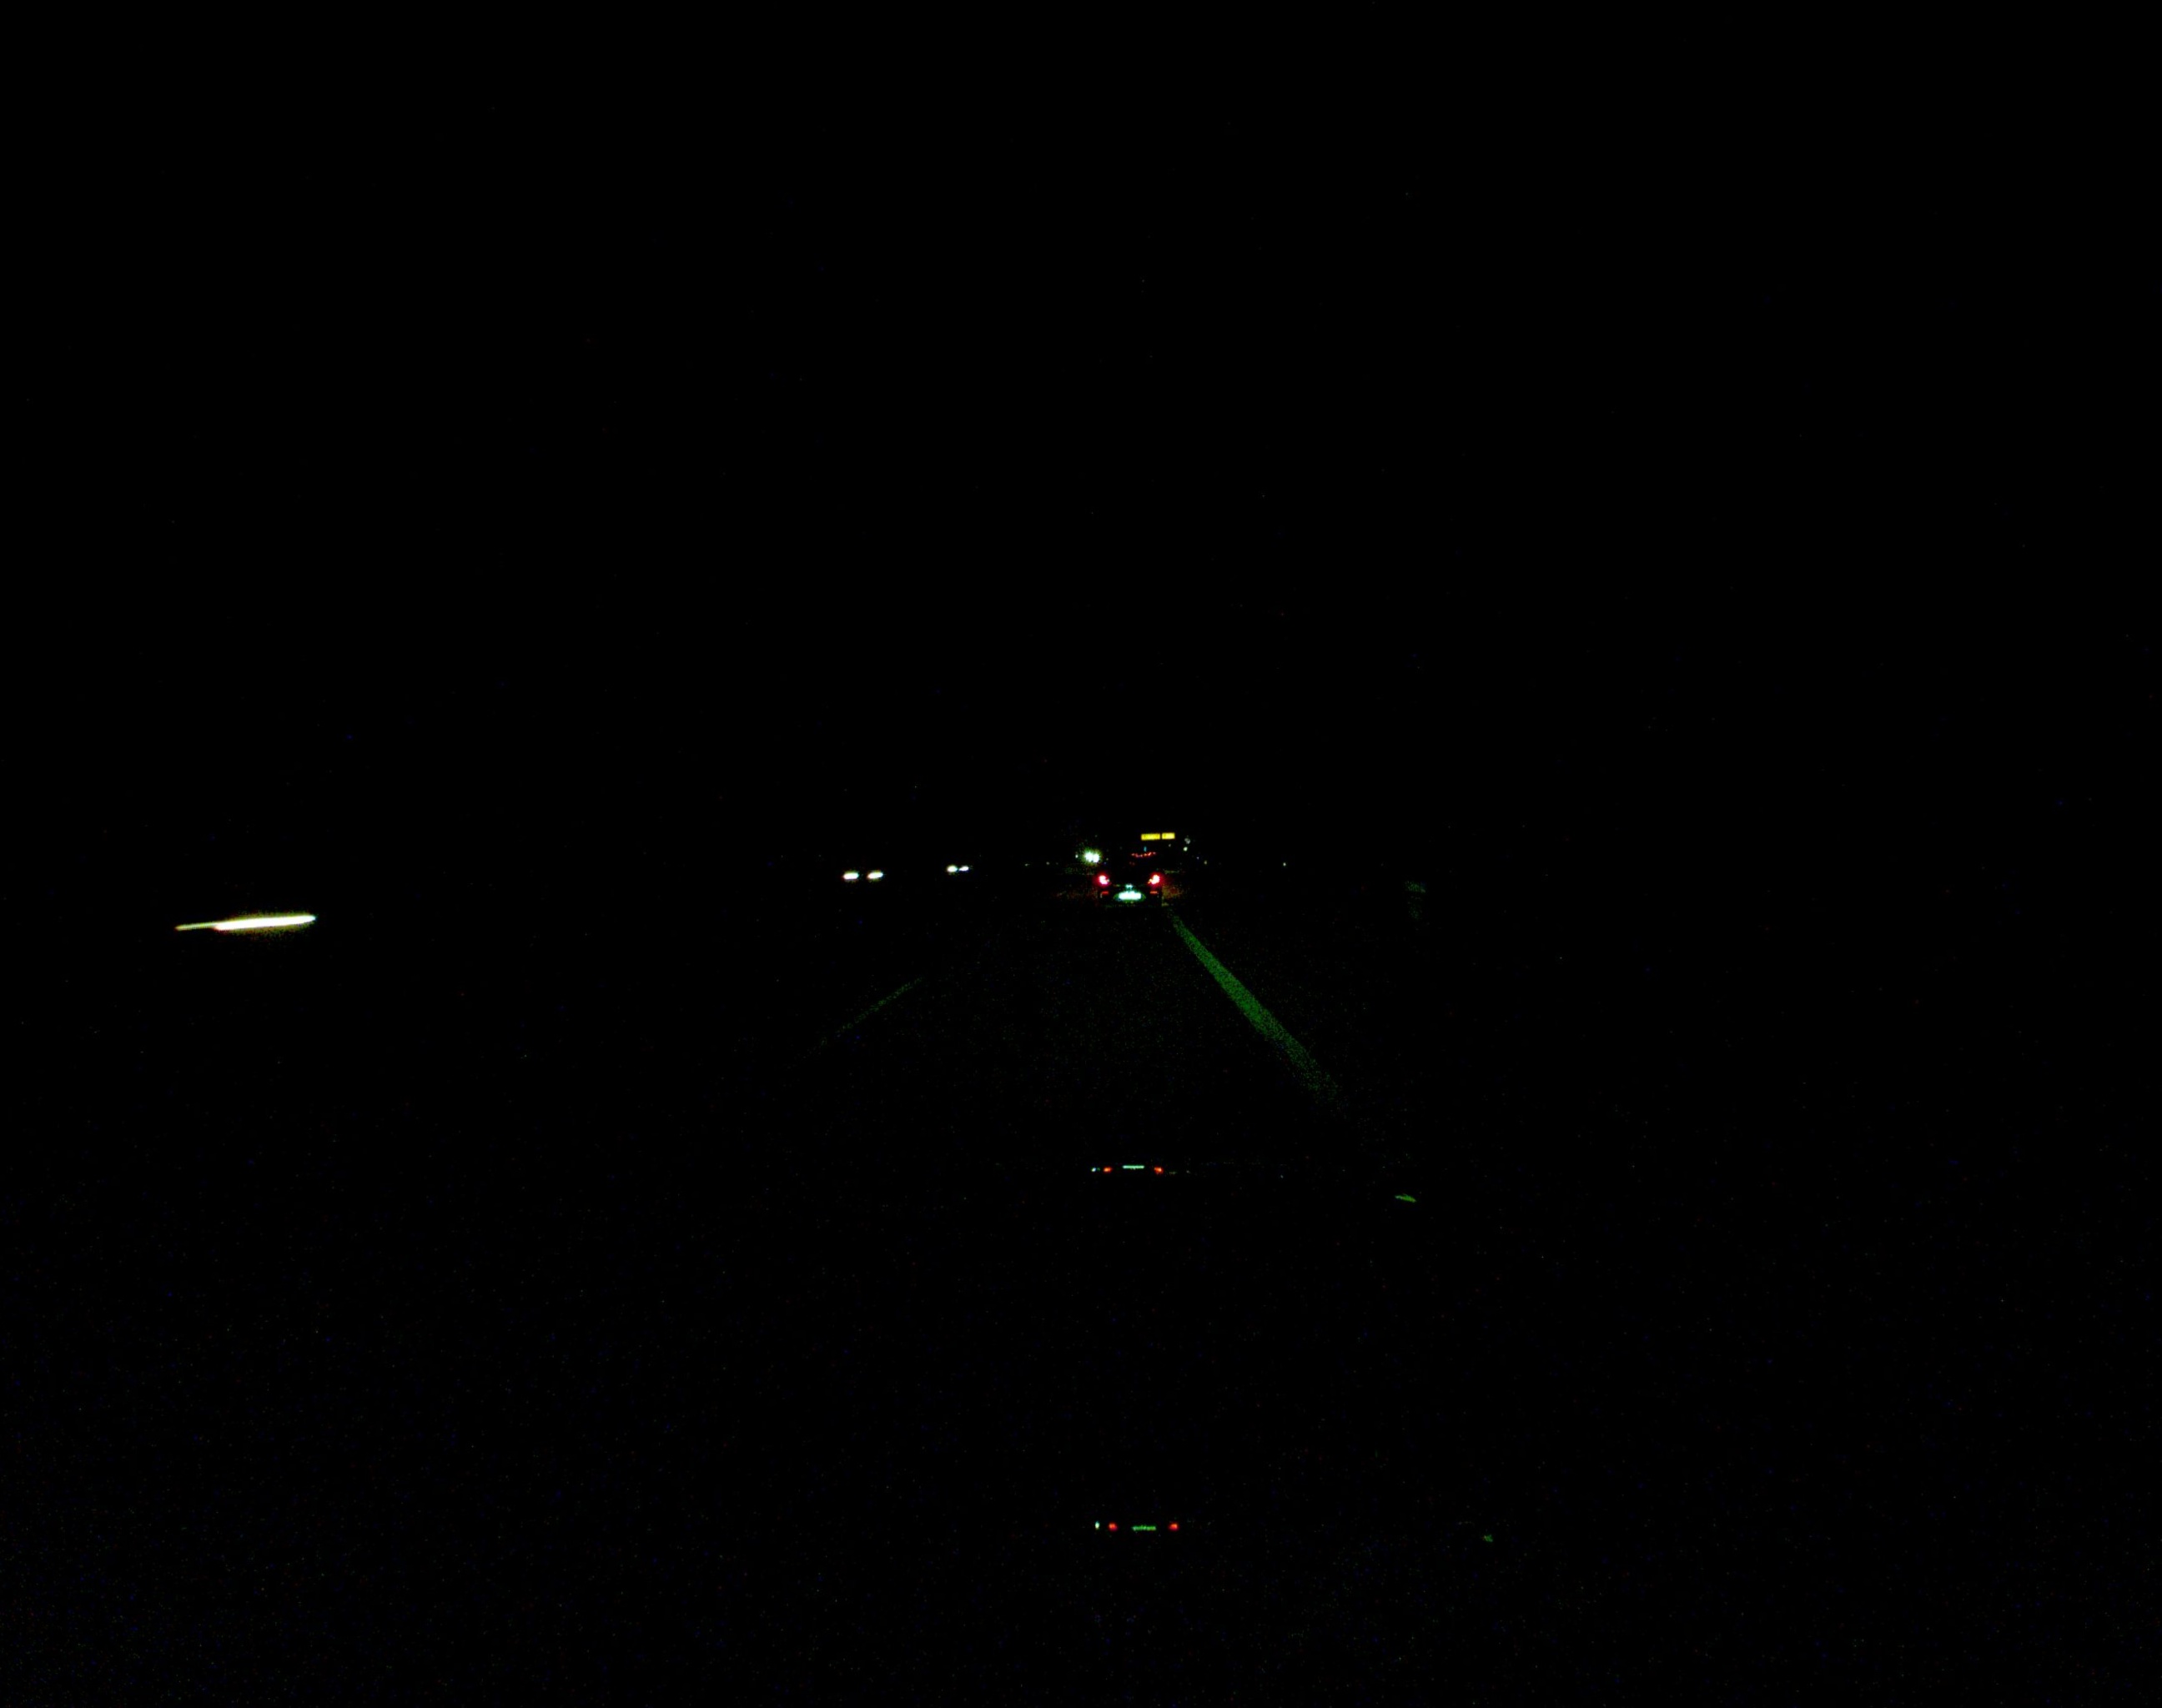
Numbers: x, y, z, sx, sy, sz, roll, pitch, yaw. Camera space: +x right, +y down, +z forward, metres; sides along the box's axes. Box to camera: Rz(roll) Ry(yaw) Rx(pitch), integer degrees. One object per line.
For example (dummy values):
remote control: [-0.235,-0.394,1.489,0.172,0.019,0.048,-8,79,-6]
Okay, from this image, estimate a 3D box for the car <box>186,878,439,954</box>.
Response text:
car: [-19.355,1.495,20.853,1.811,1.442,4.485,-3,0,8]

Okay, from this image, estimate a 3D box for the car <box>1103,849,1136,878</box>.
car: [2.499,0.572,51.911,1.898,1.698,4.005,-1,1,4]

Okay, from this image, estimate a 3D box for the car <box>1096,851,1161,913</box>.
car: [1.209,0.675,21.927,1.582,1.508,4.001,0,0,1]

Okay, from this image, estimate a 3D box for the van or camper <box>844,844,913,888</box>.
van or camper: [-13.161,0.709,53.525,2.286,2.617,7.669,-3,0,2]

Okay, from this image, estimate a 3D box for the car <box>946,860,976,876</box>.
car: [-12.582,1.425,85.643,1.947,1.457,4.179,-3,0,8]
